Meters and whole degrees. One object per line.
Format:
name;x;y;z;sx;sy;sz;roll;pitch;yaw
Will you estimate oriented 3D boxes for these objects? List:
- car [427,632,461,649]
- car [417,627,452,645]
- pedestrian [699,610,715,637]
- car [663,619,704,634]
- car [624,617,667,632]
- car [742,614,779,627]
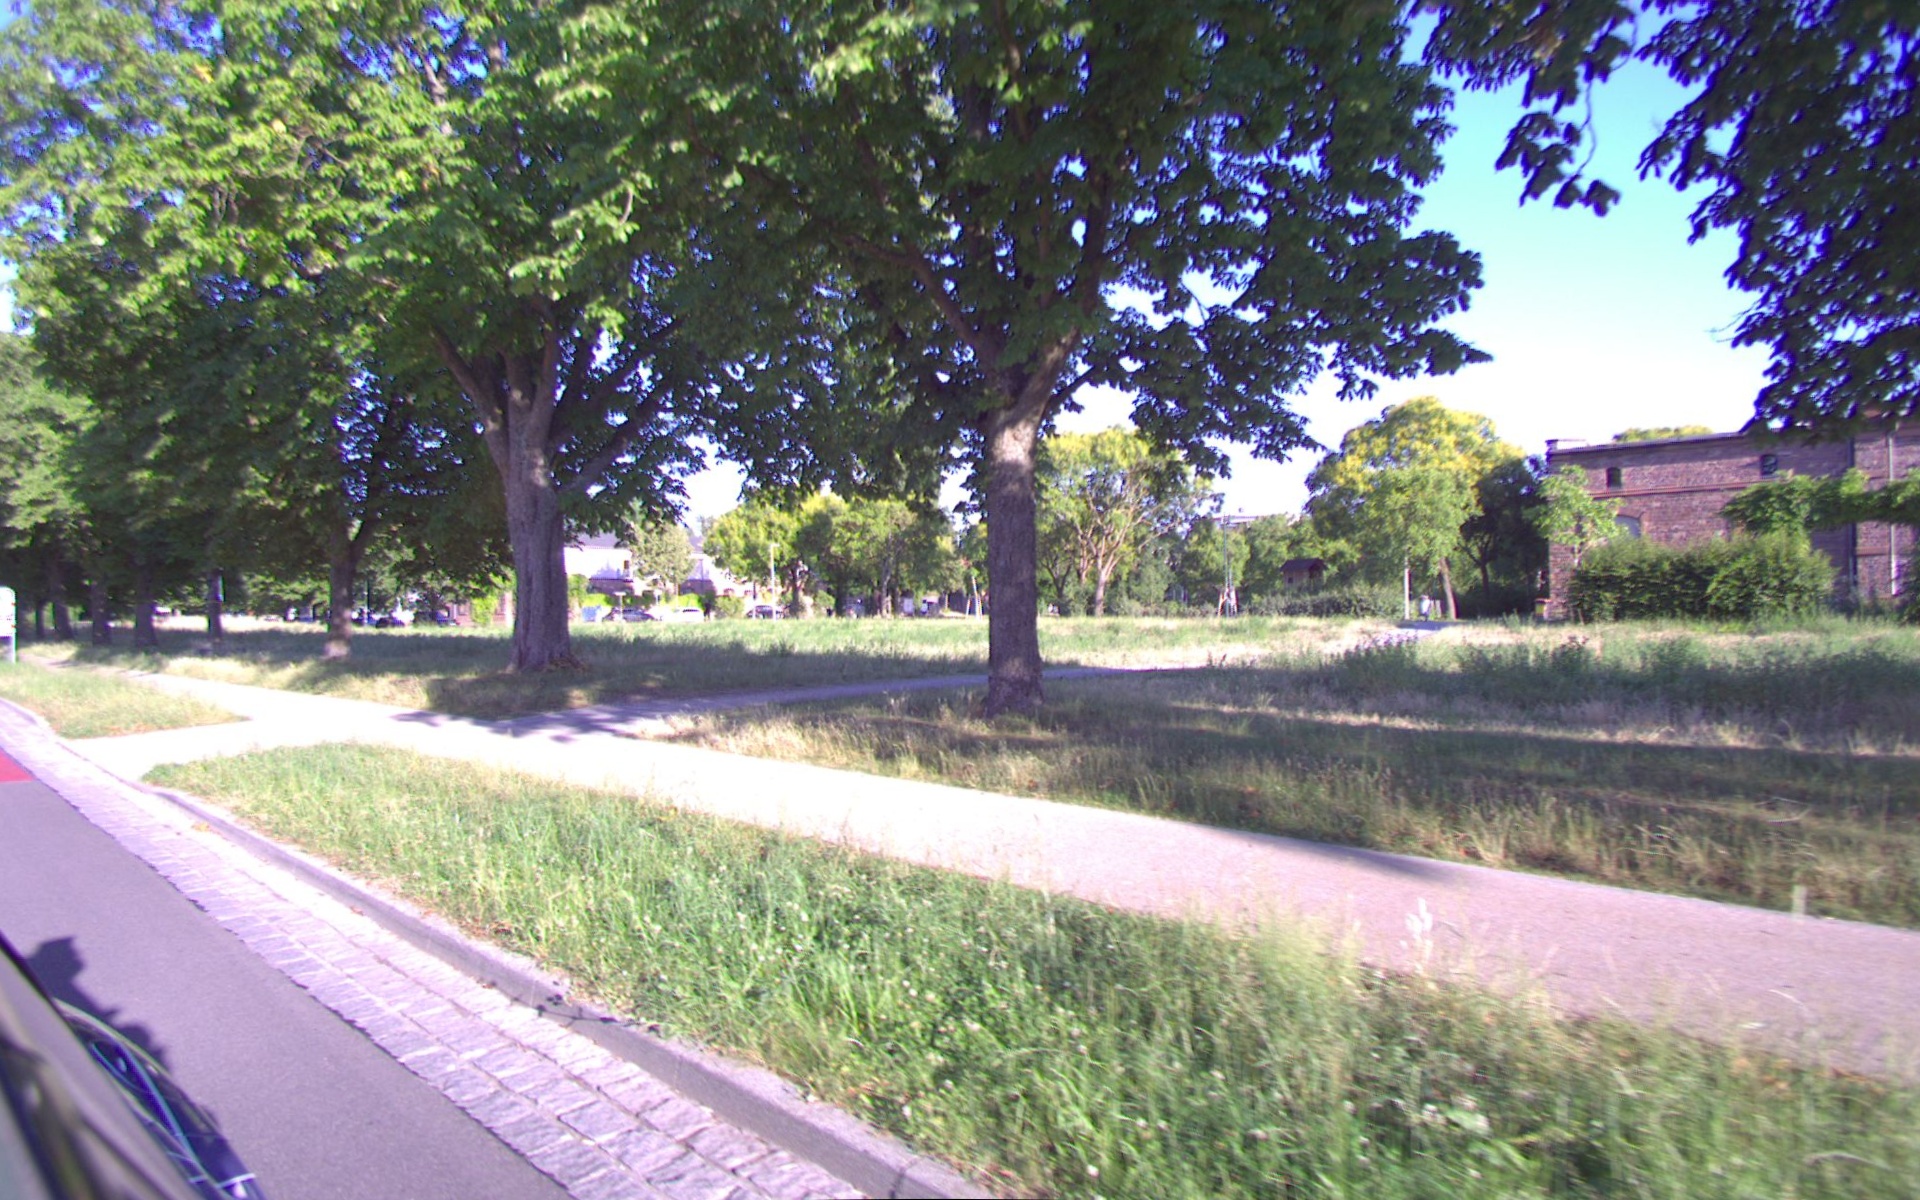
car;-52.135;4.122;102.261;3.998;1.641;1.744;-2;-1;42
car;-47.128;3.195;90.759;3.639;1.492;1.564;-1;0;42
pedestrian;-16.722;1.560;66.856;0.709;1.737;0.774;-1;0;13
car;-27.219;2.584;99.686;1.586;1.290;3.588;-2;0;43
car;-29.998;2.350;96.513;1.586;1.290;3.588;-2;0;43
car;-21.149;2.139;107.420;1.586;1.290;3.588;-2;0;43
